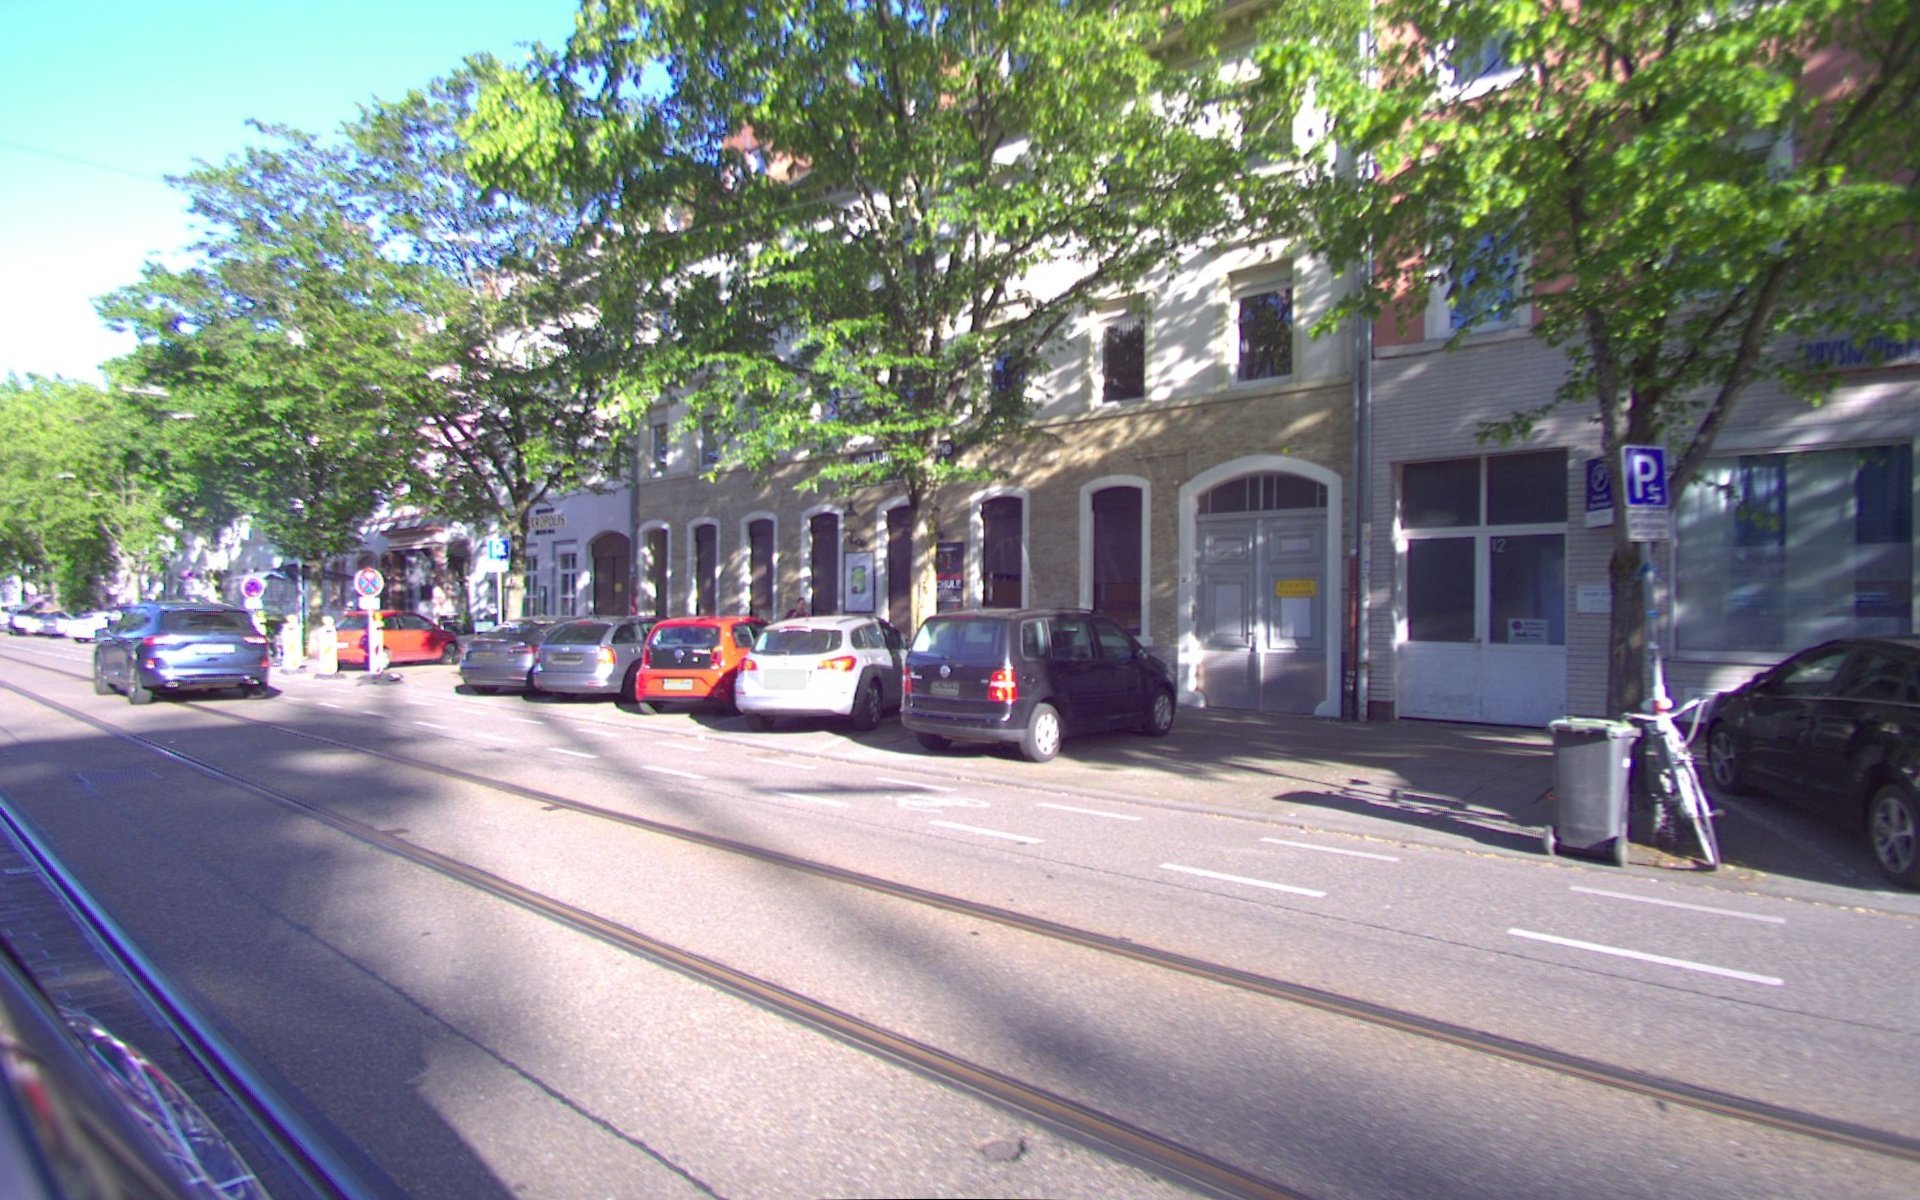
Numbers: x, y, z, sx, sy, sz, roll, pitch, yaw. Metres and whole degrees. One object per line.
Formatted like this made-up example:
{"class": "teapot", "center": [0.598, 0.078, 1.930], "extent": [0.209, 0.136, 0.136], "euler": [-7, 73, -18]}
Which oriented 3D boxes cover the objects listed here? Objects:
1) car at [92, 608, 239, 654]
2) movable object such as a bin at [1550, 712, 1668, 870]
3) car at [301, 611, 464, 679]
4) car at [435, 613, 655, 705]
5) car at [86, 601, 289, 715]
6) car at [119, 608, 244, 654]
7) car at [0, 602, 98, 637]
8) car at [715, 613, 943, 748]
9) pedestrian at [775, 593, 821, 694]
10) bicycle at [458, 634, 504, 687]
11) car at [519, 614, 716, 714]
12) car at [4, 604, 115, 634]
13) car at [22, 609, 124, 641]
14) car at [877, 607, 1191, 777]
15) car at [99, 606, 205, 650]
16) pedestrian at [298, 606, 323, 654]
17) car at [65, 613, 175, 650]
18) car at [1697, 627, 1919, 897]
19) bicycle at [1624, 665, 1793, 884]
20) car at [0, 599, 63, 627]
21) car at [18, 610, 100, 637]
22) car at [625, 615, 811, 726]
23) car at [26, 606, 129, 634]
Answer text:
{"class": "car", "center": [-33.189, 1.253, 42.501], "extent": [2.180, 1.808, 4.936], "euler": [0, -1, 3]}
{"class": "movable object such as a bin", "center": [4.332, 1.253, 6.793], "extent": [0.572, 0.920, 0.572], "euler": [-1, 0, 25]}
{"class": "car", "center": [-15.001, 1.132, 26.508], "extent": [1.653, 1.565, 3.608], "euler": [-2, 0, 15]}
{"class": "car", "center": [-7.996, 1.064, 19.979], "extent": [1.925, 1.502, 4.184], "euler": [-1, 1, 14]}
{"class": "car", "center": [-13.313, 0.892, 17.356], "extent": [4.246, 1.642, 1.908], "euler": [1, 0, 41]}
{"class": "car", "center": [-29.714, 1.194, 38.780], "extent": [1.553, 1.621, 3.896], "euler": [1, -2, 5]}
{"class": "car", "center": [-58.081, 1.239, 64.569], "extent": [2.161, 2.134, 4.393], "euler": [0, -1, 39]}
{"class": "car", "center": [-1.662, 1.009, 14.395], "extent": [1.824, 1.524, 4.098], "euler": [-1, 0, 15]}
{"class": "pedestrian", "center": [-3.342, 0.890, 20.902], "extent": [0.556, 2.029, 0.723], "euler": [-1, -1, 42]}
{"class": "bicycle", "center": [-10.500, 1.315, 22.217], "extent": [0.328, 1.104, 1.595], "euler": [1, -1, -4]}
{"class": "car", "center": [-5.989, 1.057, 18.168], "extent": [1.735, 1.481, 3.670], "euler": [0, 1, 12]}
{"class": "car", "center": [-55.228, 1.153, 62.155], "extent": [2.161, 1.737, 4.781], "euler": [0, -1, 39]}
{"class": "car", "center": [-49.230, 1.355, 56.276], "extent": [1.690, 1.689, 3.972], "euler": [0, 0, 21]}
{"class": "car", "center": [1.052, 0.944, 12.268], "extent": [1.839, 1.690, 4.064], "euler": [0, -1, 39]}
{"class": "car", "center": [-35.288, 1.210, 44.298], "extent": [1.711, 1.857, 3.441], "euler": [0, -1, 4]}
{"class": "pedestrian", "center": [-25.229, 1.170, 39.308], "extent": [0.624, 1.852, 0.636], "euler": [-1, -2, 42]}
{"class": "car", "center": [-40.311, 1.470, 48.647], "extent": [1.873, 1.541, 3.622], "euler": [0, 2, 21]}
{"class": "car", "center": [6.786, 0.940, 7.034], "extent": [1.832, 1.487, 3.838], "euler": [0, -1, 23]}
{"class": "bicycle", "center": [5.137, 1.110, 7.057], "extent": [0.489, 1.153, 1.957], "euler": [0, 1, 23]}
{"class": "car", "center": [-69.211, 0.981, 74.419], "extent": [4.865, 2.029, 2.077], "euler": [1, -2, -42]}
{"class": "car", "center": [-53.311, 1.396, 59.944], "extent": [1.378, 1.565, 3.341], "euler": [0, -1, 29]}
{"class": "car", "center": [-3.799, 1.058, 16.420], "extent": [1.597, 1.504, 3.360], "euler": [-1, 1, 13]}
{"class": "car", "center": [-50.966, 1.182, 58.548], "extent": [1.693, 1.564, 4.136], "euler": [0, -2, 25]}
